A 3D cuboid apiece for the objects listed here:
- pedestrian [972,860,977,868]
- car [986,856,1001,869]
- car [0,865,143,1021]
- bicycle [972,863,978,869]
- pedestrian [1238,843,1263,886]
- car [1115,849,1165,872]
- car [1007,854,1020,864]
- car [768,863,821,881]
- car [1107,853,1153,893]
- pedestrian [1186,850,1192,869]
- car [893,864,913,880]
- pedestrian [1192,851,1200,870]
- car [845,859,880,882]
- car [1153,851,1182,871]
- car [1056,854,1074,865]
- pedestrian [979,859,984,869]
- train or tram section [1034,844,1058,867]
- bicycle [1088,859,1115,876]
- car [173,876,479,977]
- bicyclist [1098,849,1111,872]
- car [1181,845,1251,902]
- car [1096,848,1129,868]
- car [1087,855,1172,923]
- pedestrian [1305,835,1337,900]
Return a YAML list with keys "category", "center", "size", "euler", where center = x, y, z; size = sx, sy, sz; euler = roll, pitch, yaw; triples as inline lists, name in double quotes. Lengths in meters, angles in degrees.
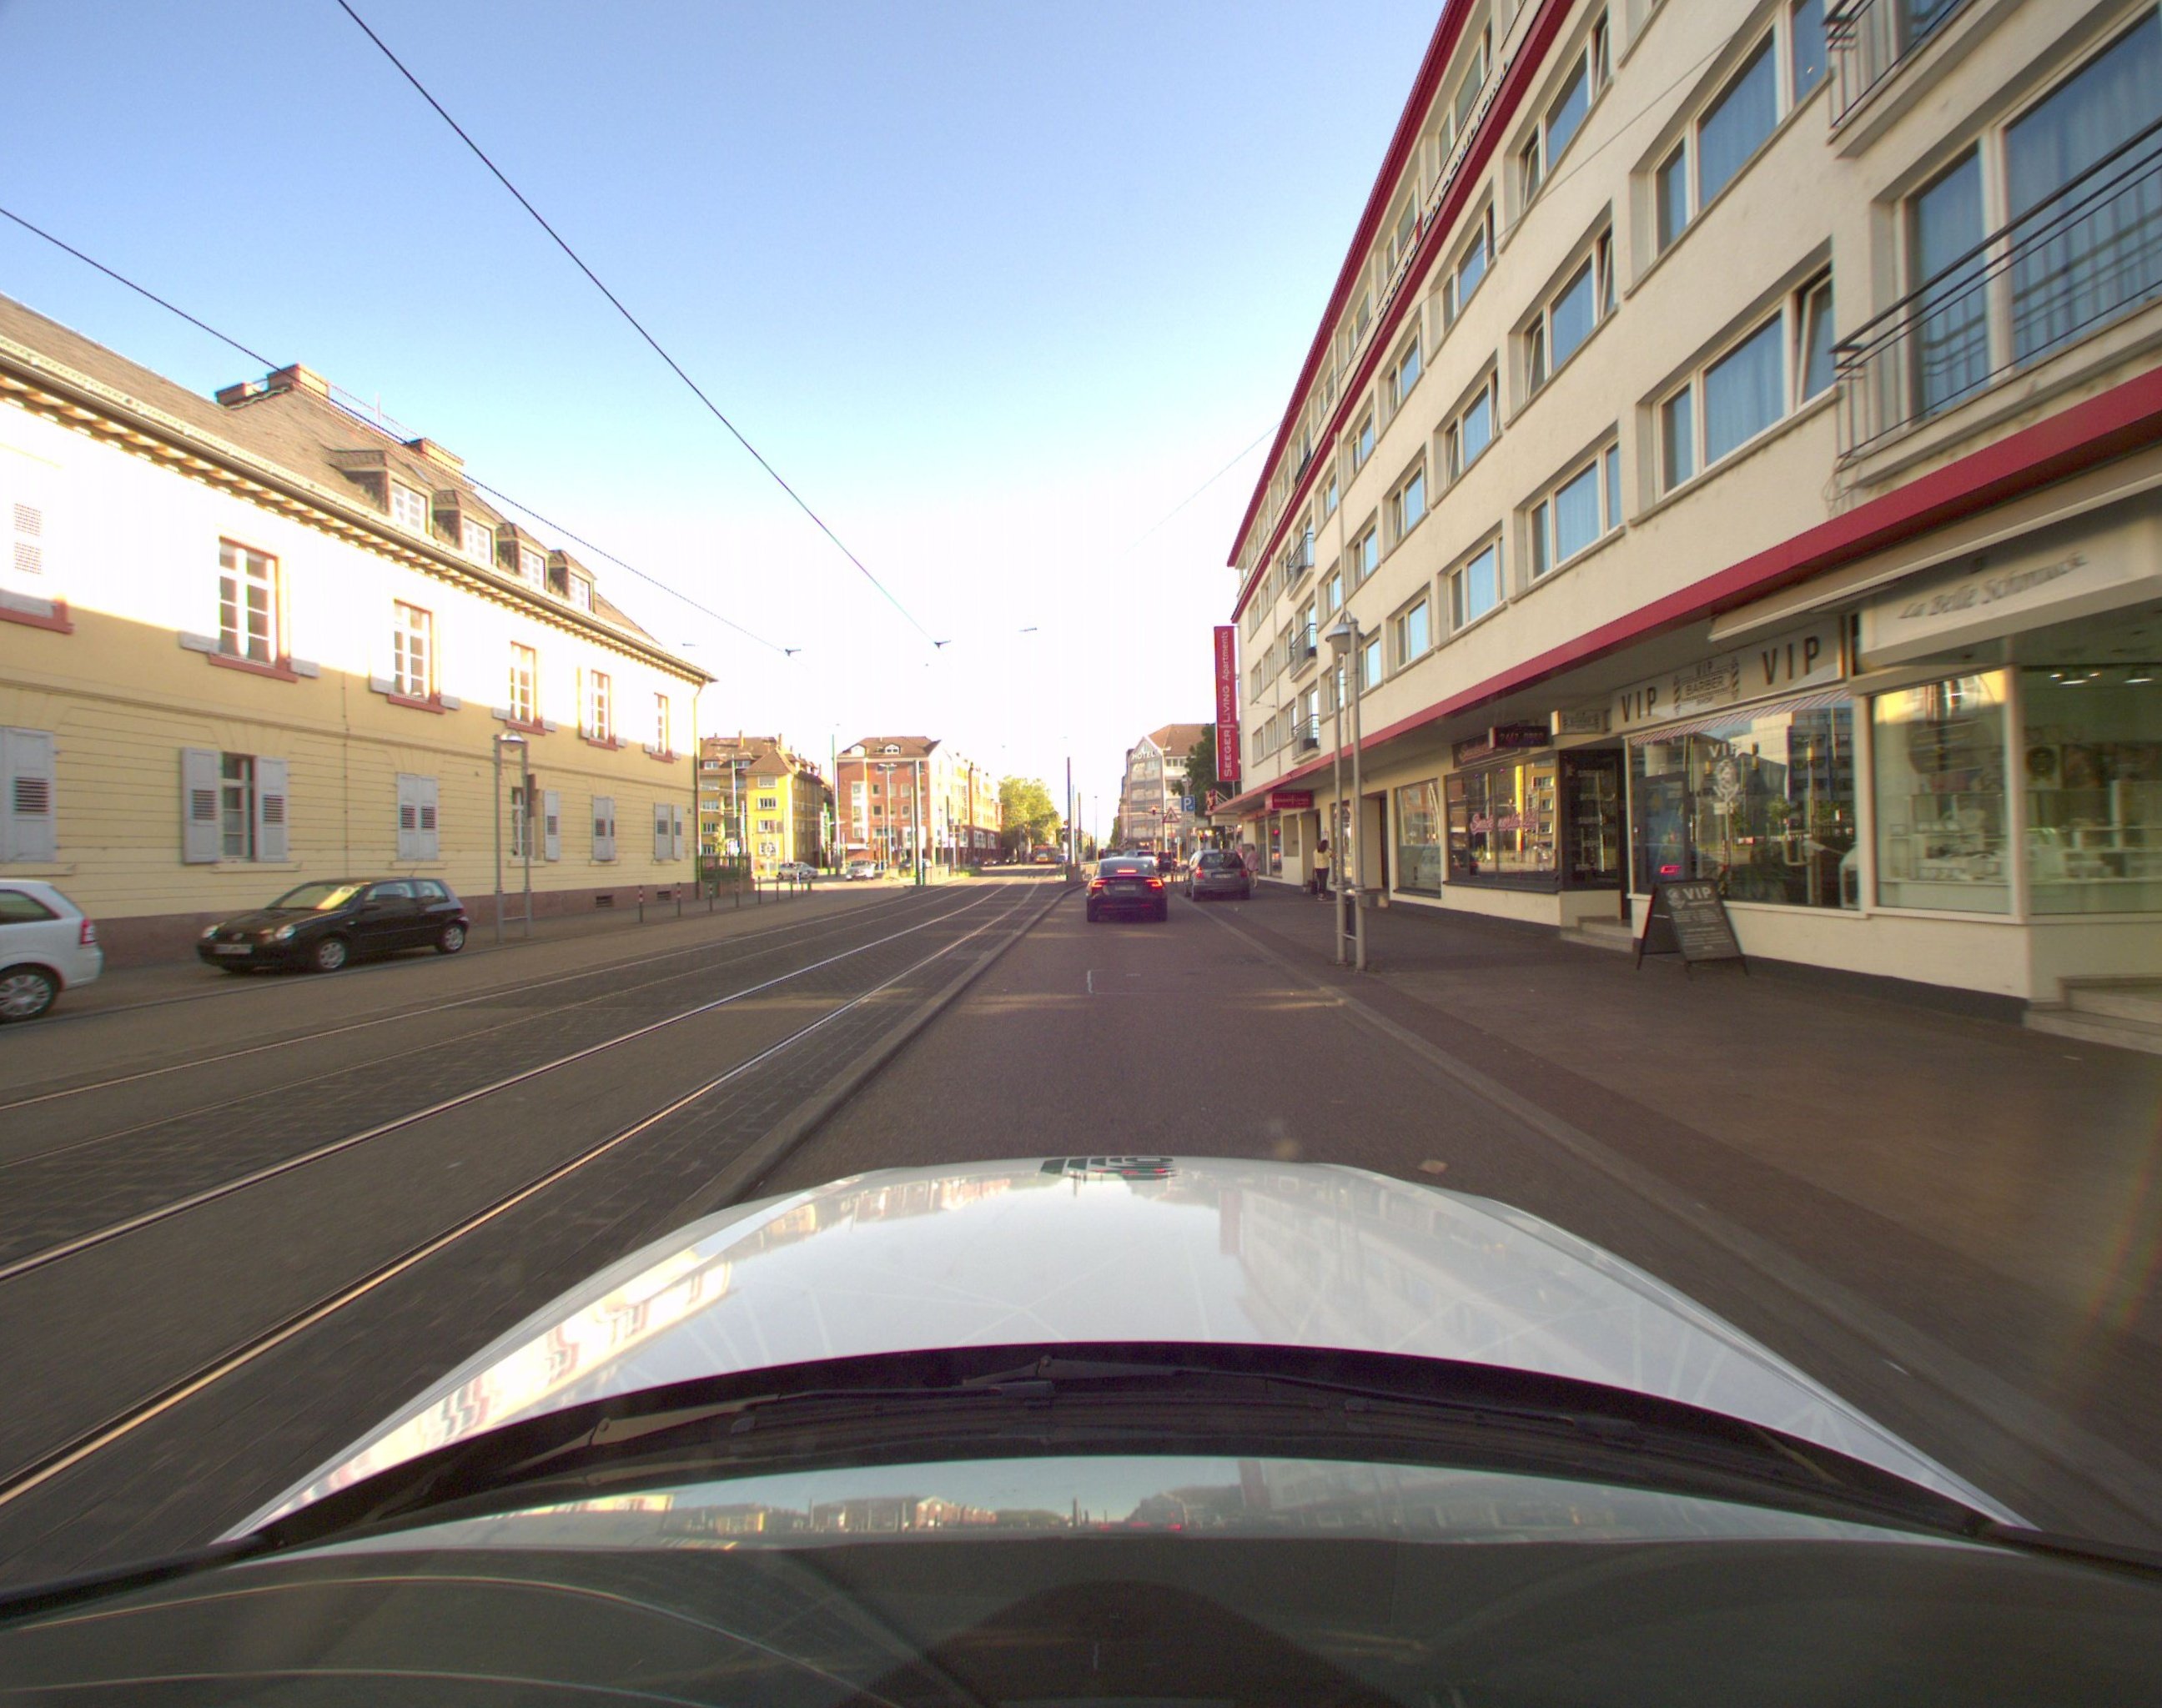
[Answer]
- category: "pedestrian"
  center: [-17.301, 1.570, 132.902]
  size: [0.693, 1.308, 0.564]
  euler: [-2, 0, 1]
- category: "car"
  center: [-14.728, 1.430, 136.938]
  size: [1.985, 2.014, 4.002]
  euler: [1, -1, 2]
- category: "car"
  center: [-12.756, 0.962, 7.849]
  size: [1.799, 1.686, 4.654]
  euler: [1, -1, 4]
- category: "bicycle"
  center: [-17.284, 1.993, 133.096]
  size: [0.699, 0.855, 2.054]
  euler: [-2, 0, 2]
- category: "pedestrian"
  center: [6.776, 0.416, 32.559]
  size: [0.810, 1.683, 0.718]
  euler: [0, -1, 25]
- category: "car"
  center: [4.042, 0.434, 56.871]
  size: [1.791, 1.519, 4.186]
  euler: [1, -1, -23]
- category: "car"
  center: [-11.623, 0.920, 139.804]
  size: [1.744, 1.651, 4.002]
  euler: [1, -1, 2]
- category: "car"
  center: [-26.145, 1.665, 74.378]
  size: [4.551, 1.556, 1.826]
  euler: [0, -1, 26]
- category: "car"
  center: [1.884, 0.704, 31.693]
  size: [1.647, 1.418, 4.003]
  euler: [0, 0, 3]
- category: "pedestrian"
  center: [9.758, 0.477, 73.637]
  size: [0.559, 1.683, 0.751]
  euler: [0, 0, 7]
- category: "car"
  center: [-17.140, 1.726, 78.584]
  size: [1.765, 1.512, 4.263]
  euler: [-1, 0, -11]
- category: "pedestrian"
  center: [10.056, 0.580, 71.301]
  size: [0.626, 1.614, 0.644]
  euler: [0, 0, 5]
- category: "car"
  center: [-15.162, 1.137, 56.704]
  size: [1.881, 1.495, 4.912]
  euler: [-2, 0, -10]
- category: "car"
  center: [6.927, 0.542, 65.468]
  size: [1.820, 1.519, 3.645]
  euler: [1, -1, -3]
- category: "car"
  center: [-2.200, 0.733, 113.168]
  size: [1.984, 1.420, 4.005]
  euler: [1, -1, 5]
- category: "pedestrian"
  center: [-16.927, 1.728, 138.703]
  size: [0.710, 1.667, 0.563]
  euler: [1, -1, -7]
- category: "train or tram section"
  center: [-5.781, 0.281, 137.331]
  size: [2.663, 3.715, 14.201]
  euler: [0, 0, 3]
- category: "bicycle"
  center: [1.395, 0.903, 54.900]
  size: [1.726, 1.088, 0.677]
  euler: [1, -1, -6]
- category: "car"
  center: [-12.462, 1.109, 13.817]
  size: [1.608, 1.400, 3.721]
  euler: [1, -1, 1]
- category: "bicyclist"
  center: [1.596, 0.446, 54.947]
  size: [0.835, 1.500, 0.559]
  euler: [1, -1, -6]
- category: "car"
  center: [4.269, 0.589, 26.242]
  size: [1.738, 1.632, 3.651]
  euler: [-3, 0, 2]
- category: "car"
  center: [2.483, 0.329, 65.208]
  size: [1.825, 1.519, 4.202]
  euler: [1, -1, -11]
- category: "car"
  center: [1.090, 0.781, 19.565]
  size: [1.842, 1.484, 3.787]
  euler: [0, -1, 1]
- category: "pedestrian"
  center: [6.847, 0.382, 23.233]
  size: [0.797, 1.774, 0.936]
  euler: [-2, -1, 16]
